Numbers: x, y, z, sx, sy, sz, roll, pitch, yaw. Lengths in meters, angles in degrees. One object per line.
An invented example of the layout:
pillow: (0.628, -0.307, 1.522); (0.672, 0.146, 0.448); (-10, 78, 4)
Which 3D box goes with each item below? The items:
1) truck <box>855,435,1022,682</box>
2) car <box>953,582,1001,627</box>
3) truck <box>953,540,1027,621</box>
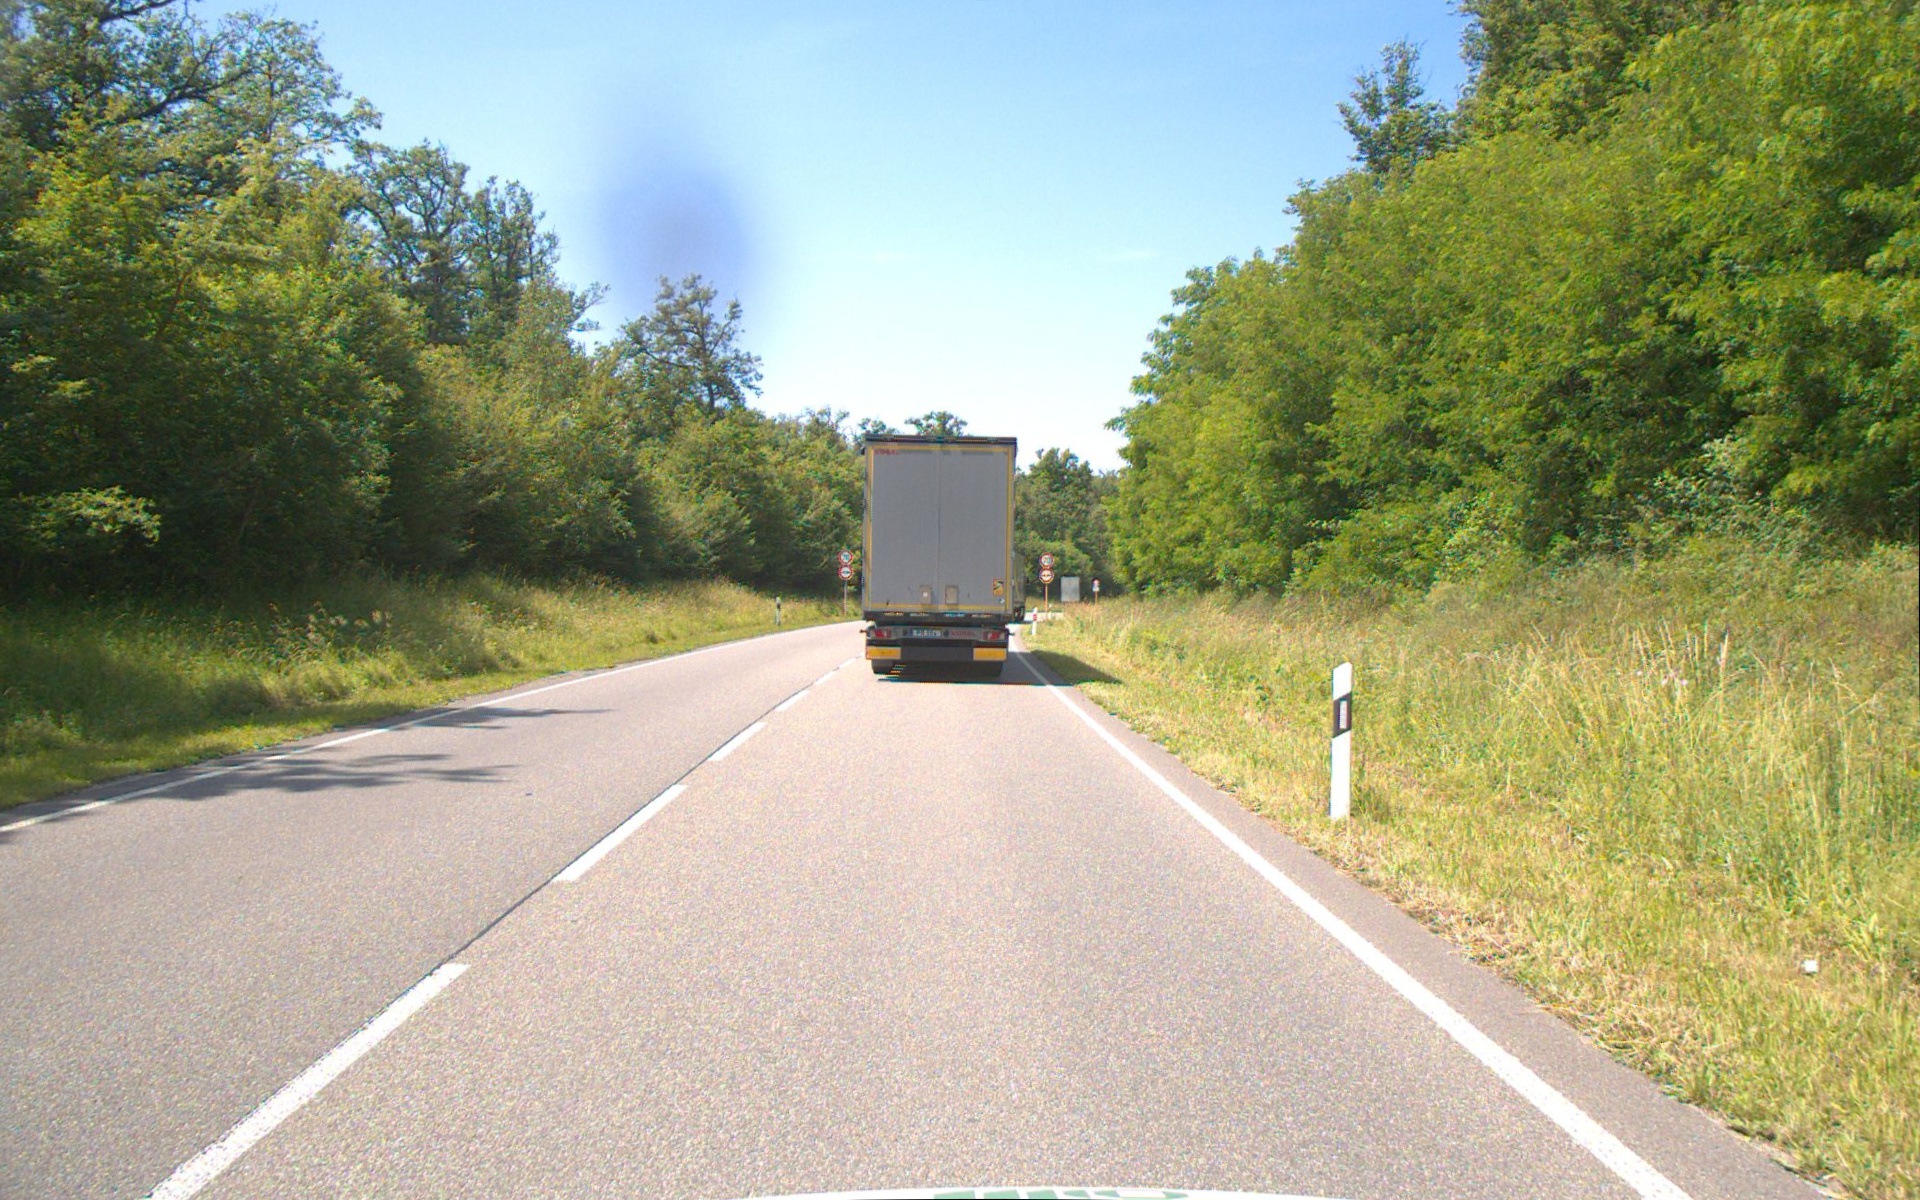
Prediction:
truck: (-0.364, -0.736, 33.086); (2.705, 4.016, 12.197); (0, 0, 0)
car: (0.715, 0.162, 66.296); (1.733, 1.738, 4.002); (0, 0, 3)
truck: (1.953, -1.124, 98.985); (3.714, 4.449, 14.927); (1, 0, 4)
